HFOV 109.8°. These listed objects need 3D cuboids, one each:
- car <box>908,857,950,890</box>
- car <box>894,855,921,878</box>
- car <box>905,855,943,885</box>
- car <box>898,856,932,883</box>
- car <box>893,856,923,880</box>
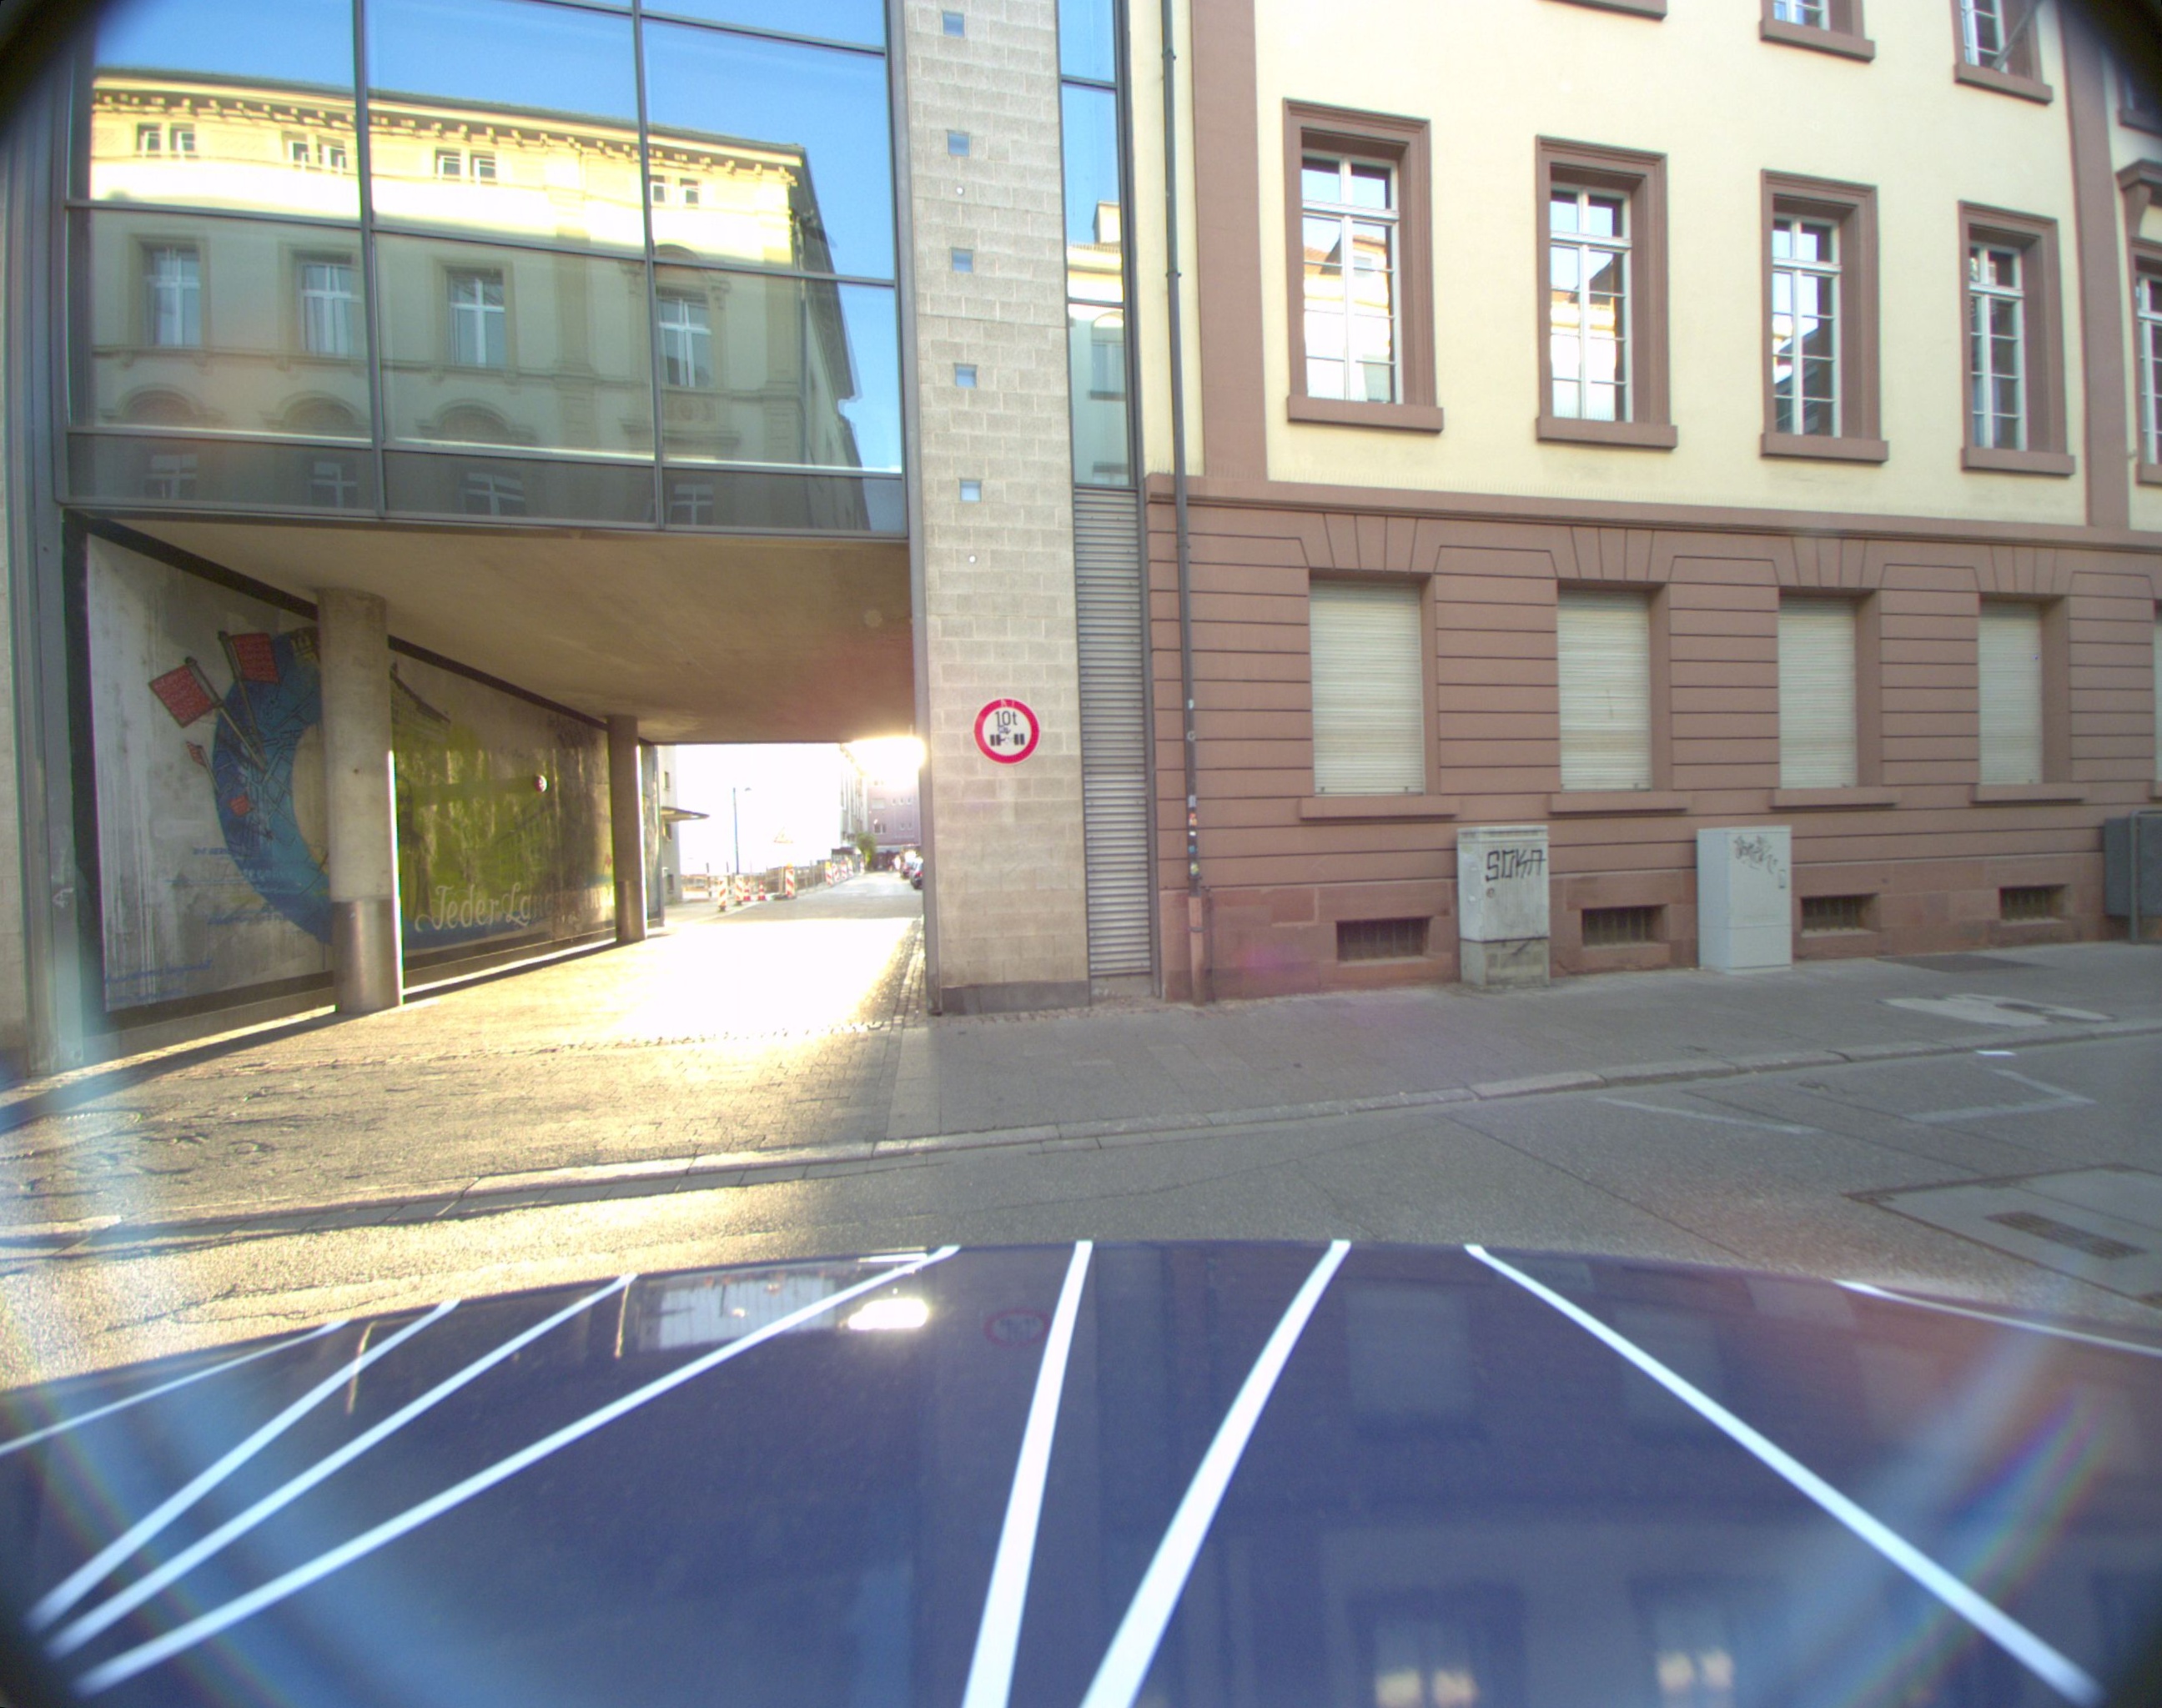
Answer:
[{"bbox_3d":[-7.633,0.946,37.930,1.603,1.484,3.439,-2,1,-18],"label":"car"},{"bbox_3d":[-12.836,0.894,55.966,1.603,1.484,3.439,-2,1,-18],"label":"car"},{"bbox_3d":[-8.629,0.830,41.580,1.603,1.484,3.439,-2,1,-18],"label":"car"},{"bbox_3d":[-9.953,0.901,45.407,1.603,1.484,3.439,-2,1,-18],"label":"car"},{"bbox_3d":[-11.634,0.891,51.049,1.603,1.484,3.439,-2,1,-18],"label":"car"}]
